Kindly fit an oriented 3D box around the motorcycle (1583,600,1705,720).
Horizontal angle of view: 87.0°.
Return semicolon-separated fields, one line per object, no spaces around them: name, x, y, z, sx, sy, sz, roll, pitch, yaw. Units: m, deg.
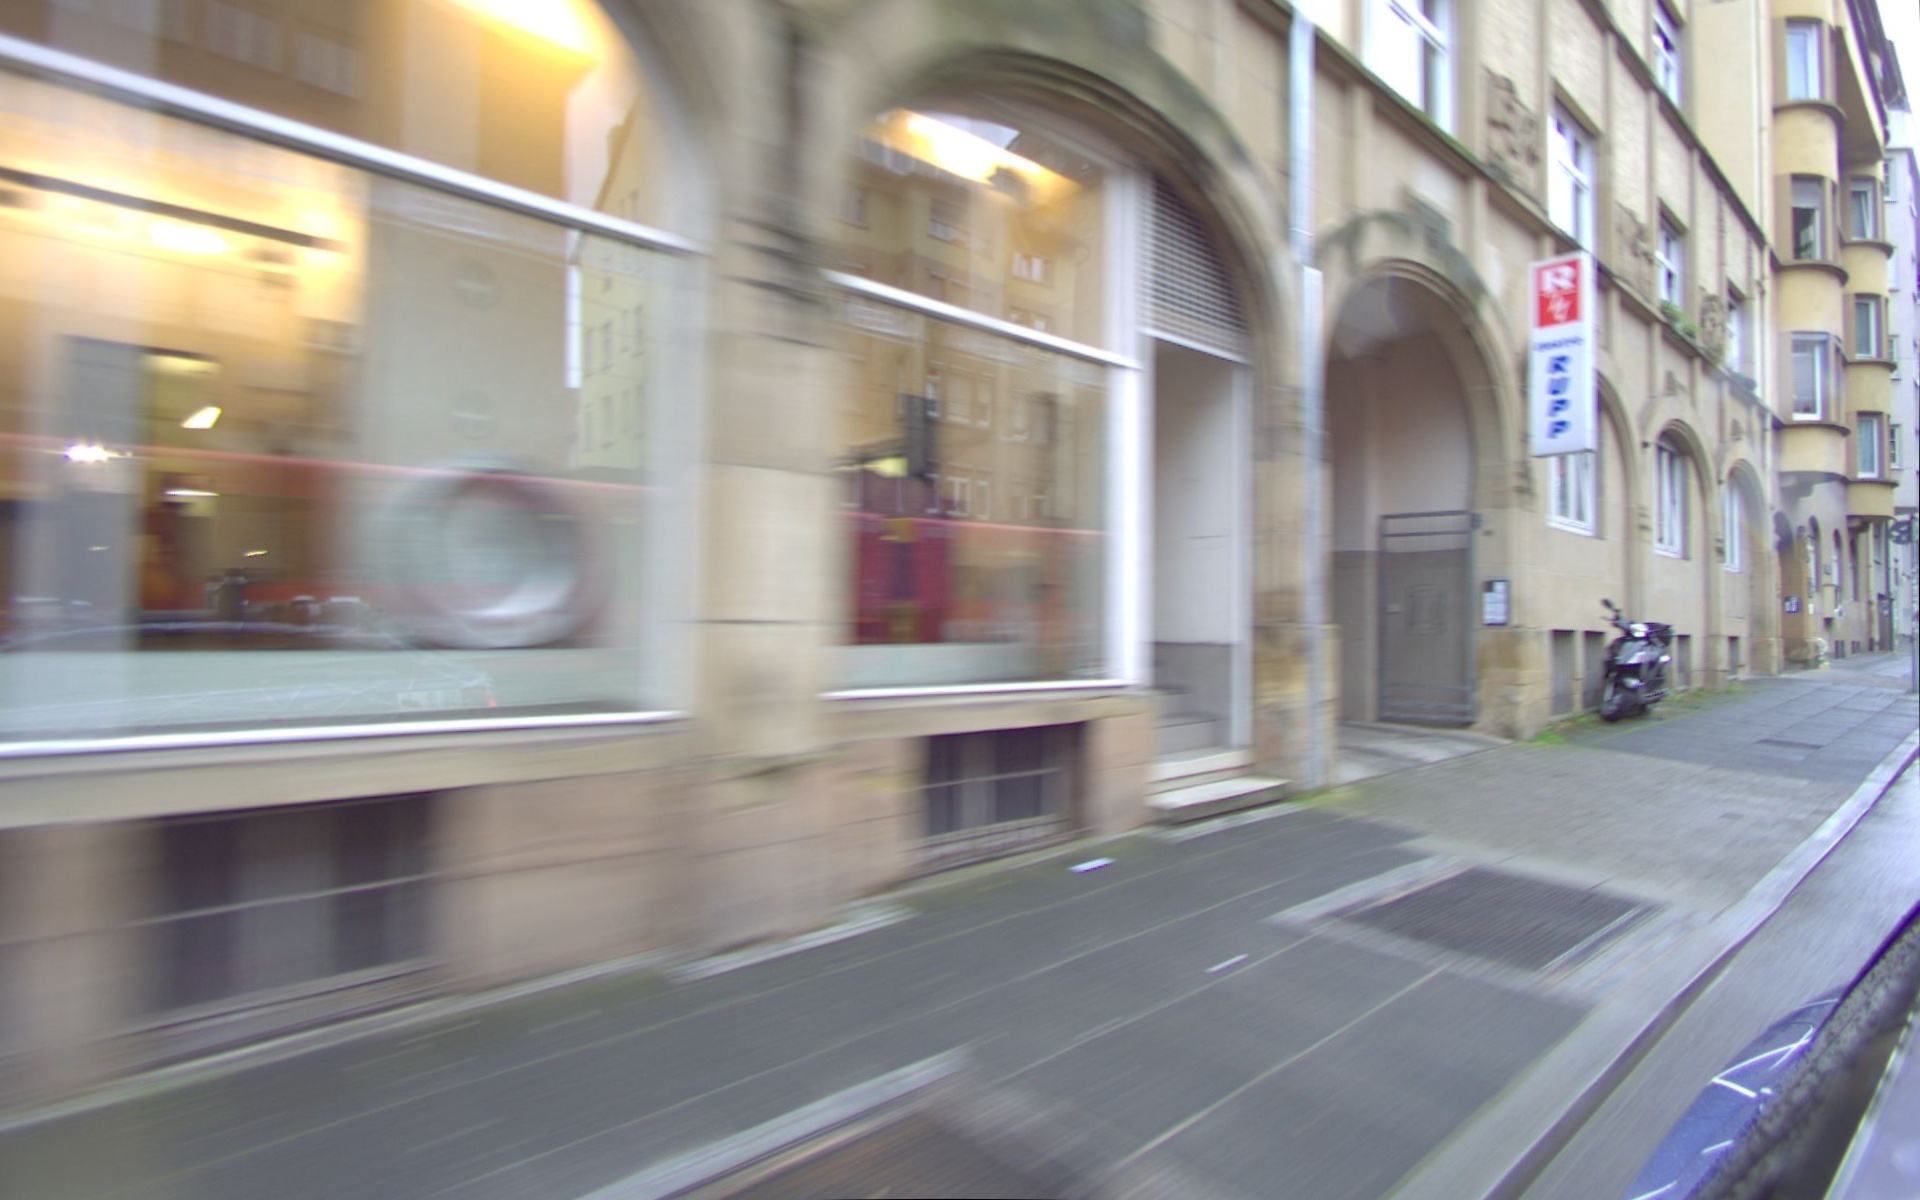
motorcycle;8.064;0.665;11.899;1.748;1.252;0.692;1;5;-42
